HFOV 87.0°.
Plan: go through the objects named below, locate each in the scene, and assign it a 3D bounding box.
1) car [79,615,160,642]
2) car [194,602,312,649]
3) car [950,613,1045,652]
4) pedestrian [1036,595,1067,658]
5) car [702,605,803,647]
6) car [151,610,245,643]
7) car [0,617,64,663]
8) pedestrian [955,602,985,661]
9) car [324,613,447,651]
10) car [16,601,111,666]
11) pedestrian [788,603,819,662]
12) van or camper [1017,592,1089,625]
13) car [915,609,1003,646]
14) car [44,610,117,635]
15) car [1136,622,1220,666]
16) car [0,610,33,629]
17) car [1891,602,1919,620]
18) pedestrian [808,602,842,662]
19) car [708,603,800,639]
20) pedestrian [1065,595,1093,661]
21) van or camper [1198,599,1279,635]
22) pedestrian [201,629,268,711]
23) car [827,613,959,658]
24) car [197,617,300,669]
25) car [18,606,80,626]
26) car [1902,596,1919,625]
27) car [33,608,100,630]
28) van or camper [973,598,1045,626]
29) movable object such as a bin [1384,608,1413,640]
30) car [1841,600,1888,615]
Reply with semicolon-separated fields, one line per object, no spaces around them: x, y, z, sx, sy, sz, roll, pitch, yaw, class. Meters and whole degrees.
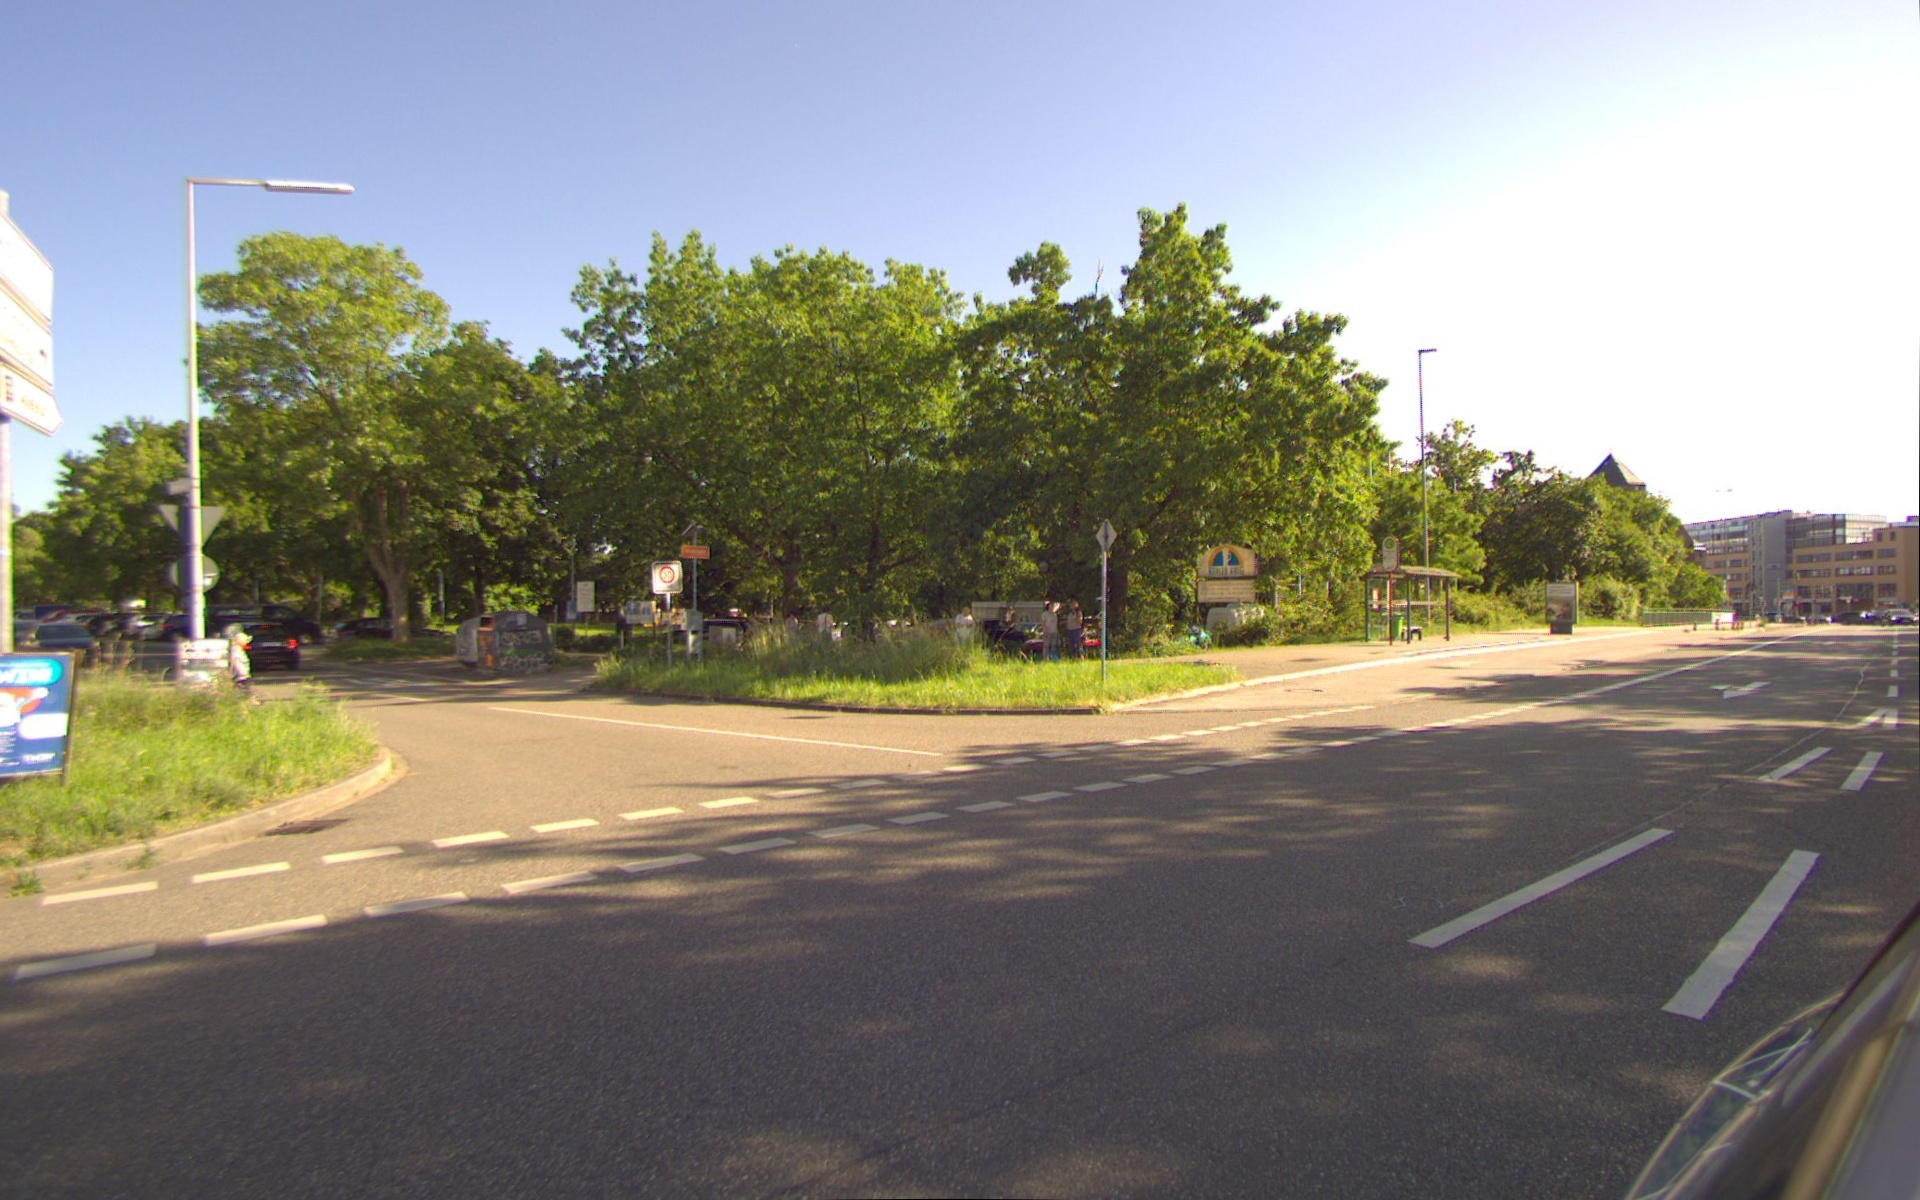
-56.898;1.937;68.549;1.991;1.677;3.941;-3;-1;41;car
-32.912;1.146;47.206;4.279;2.099;1.995;0;-1;-44;car
1.825;1.598;48.265;4.697;1.773;1.753;3;-4;-44;car
2.418;0.695;26.743;0.622;1.655;0.542;-1;-1;44;pedestrian
-7.411;0.906;35.997;3.569;1.331;1.601;-1;1;39;car
-42.204;1.438;56.087;1.993;1.677;3.936;-3;-1;44;car
-37.293;1.596;40.390;3.986;1.683;1.969;-3;-1;44;car
0.271;0.835;26.838;0.603;1.538;0.528;0;-1;-44;pedestrian
-22.507;1.244;39.670;3.928;1.314;1.997;-1;-1;-39;car
-30.096;1.082;33.940;3.984;2.039;1.970;-1;-1;42;car
-4.447;0.914;28.739;0.596;1.640;0.559;-3;-2;38;pedestrian
6.393;0.596;69.178;2.445;2.186;5.254;-1;-1;38;van or camper
-0.026;1.337;49.401;3.932;1.616;1.996;-1;-1;-42;car
-66.288;1.676;76.285;1.991;1.677;3.941;-3;-1;41;car
9.013;1.764;41.700;3.554;1.658;1.762;0;-1;-45;car
-92.103;1.902;97.473;1.991;1.677;3.941;-3;-1;41;car
80.391;0.937;85.066;1.809;1.492;3.969;-1;-1;22;car
-3.756;0.882;28.176;0.701;1.640;0.559;-3;-2;38;pedestrian
-8.227;0.824;40.292;3.632;1.290;1.601;-1;1;39;car
3.140;0.732;26.663;0.602;1.722;0.403;-1;-1;44;pedestrian
15.601;0.921;56.475;2.446;1.937;5.251;-1;-1;39;van or camper
-14.052;1.341;19.613;0.647;1.516;0.897;-1;-1;35;pedestrian
-2.441;1.360;37.794;4.807;1.558;1.994;3;-4;-44;car
-22.519;1.306;31.989;3.540;1.522;1.658;-1;-1;37;car
-81.085;1.397;90.100;1.991;1.677;3.941;-3;-1;41;car
48.904;0.518;51.056;3.933;1.423;1.779;0;-1;-44;car
-73.267;1.547;83.022;1.991;1.677;3.941;-3;-1;41;car
3.490;0.842;71.541;2.446;1.937;5.251;-1;-1;39;van or camper
14.275;0.779;32.960;0.726;1.043;0.569;-1;-1;44;movable object such as a bin
104.367;0.869;116.740;3.985;1.653;1.969;-1;-1;43;car
